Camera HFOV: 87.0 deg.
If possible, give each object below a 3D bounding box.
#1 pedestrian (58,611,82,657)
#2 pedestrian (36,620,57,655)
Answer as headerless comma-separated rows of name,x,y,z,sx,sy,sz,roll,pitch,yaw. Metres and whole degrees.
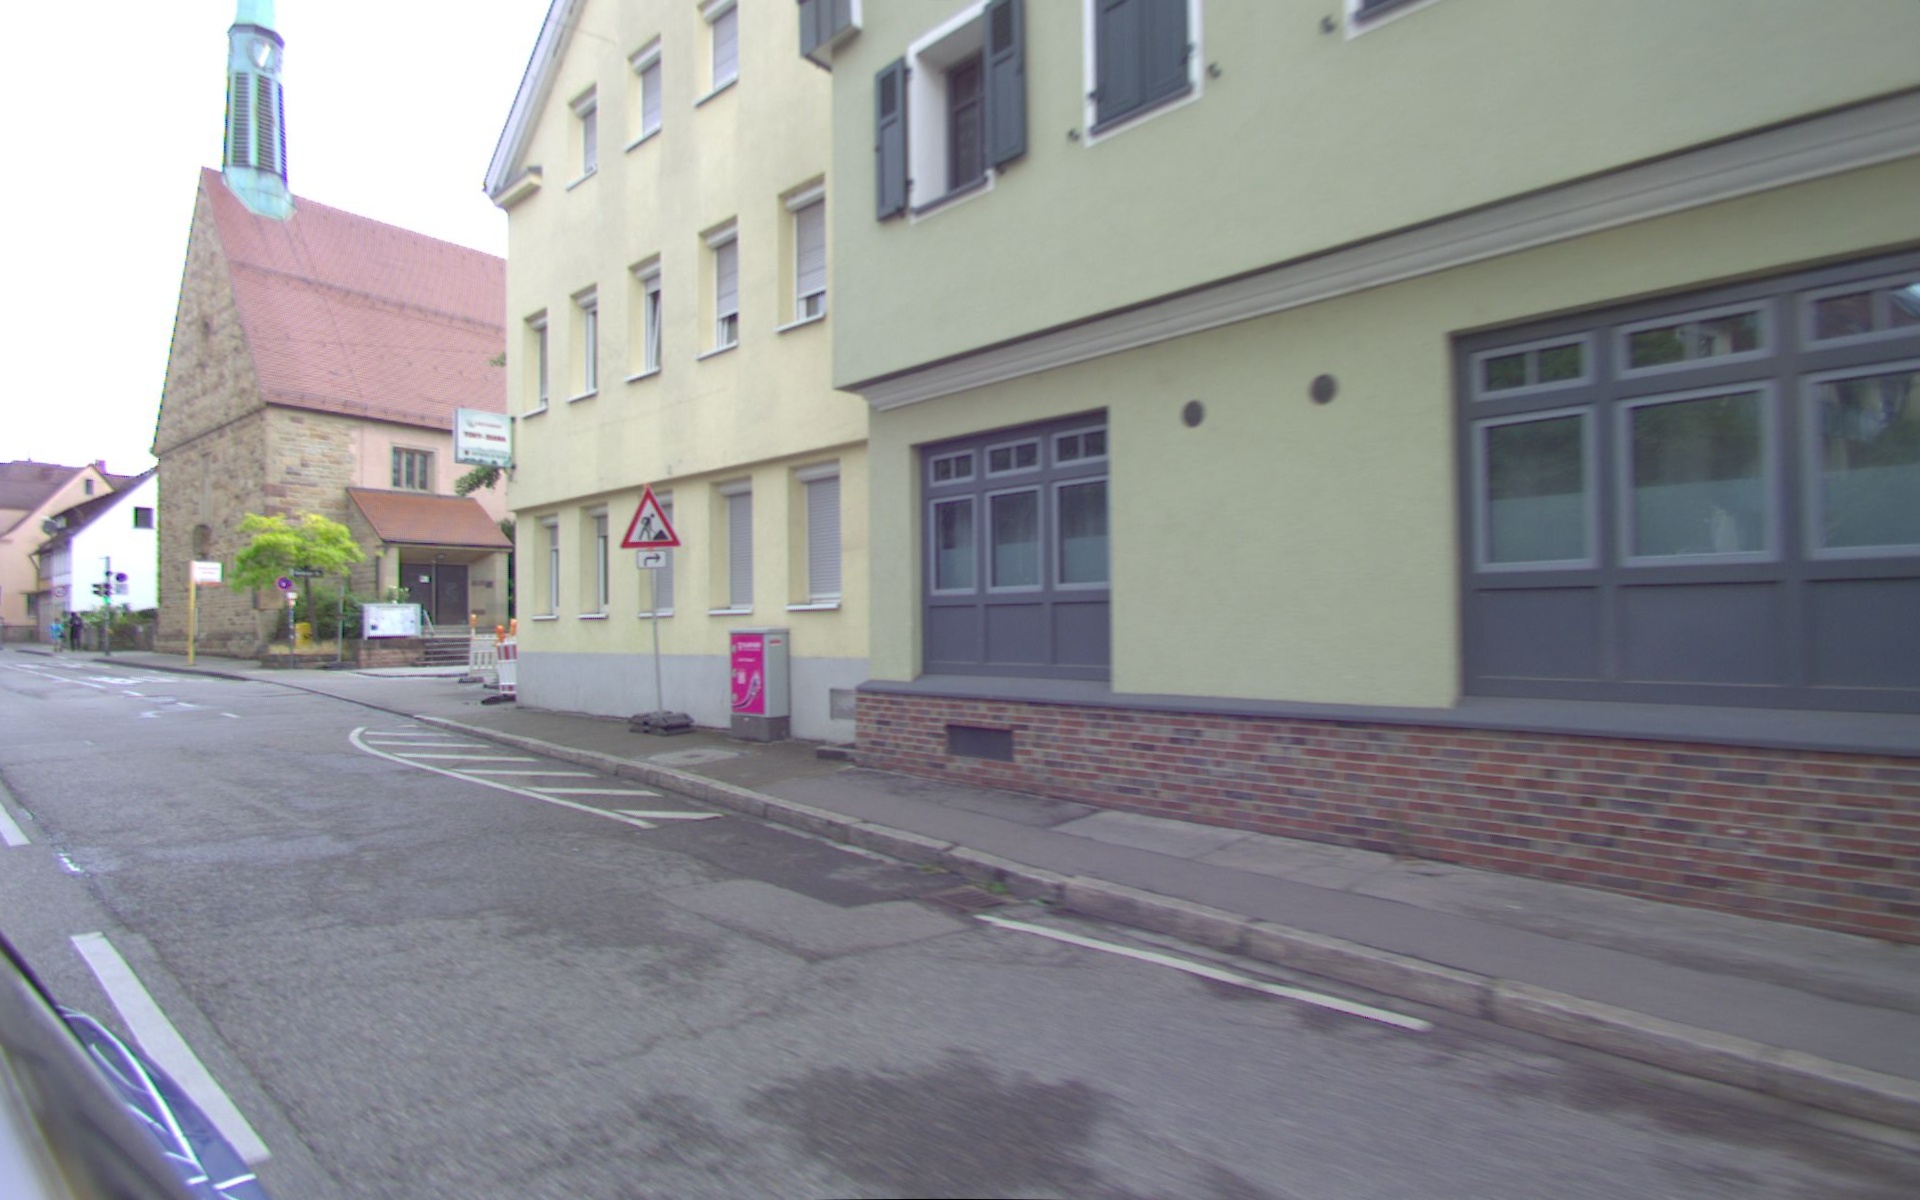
pedestrian,-42.295,1.599,48.096,0.782,2.137,0.749,-2,-2,41
pedestrian,-43.012,1.768,47.629,0.711,1.618,0.629,-2,-2,41
